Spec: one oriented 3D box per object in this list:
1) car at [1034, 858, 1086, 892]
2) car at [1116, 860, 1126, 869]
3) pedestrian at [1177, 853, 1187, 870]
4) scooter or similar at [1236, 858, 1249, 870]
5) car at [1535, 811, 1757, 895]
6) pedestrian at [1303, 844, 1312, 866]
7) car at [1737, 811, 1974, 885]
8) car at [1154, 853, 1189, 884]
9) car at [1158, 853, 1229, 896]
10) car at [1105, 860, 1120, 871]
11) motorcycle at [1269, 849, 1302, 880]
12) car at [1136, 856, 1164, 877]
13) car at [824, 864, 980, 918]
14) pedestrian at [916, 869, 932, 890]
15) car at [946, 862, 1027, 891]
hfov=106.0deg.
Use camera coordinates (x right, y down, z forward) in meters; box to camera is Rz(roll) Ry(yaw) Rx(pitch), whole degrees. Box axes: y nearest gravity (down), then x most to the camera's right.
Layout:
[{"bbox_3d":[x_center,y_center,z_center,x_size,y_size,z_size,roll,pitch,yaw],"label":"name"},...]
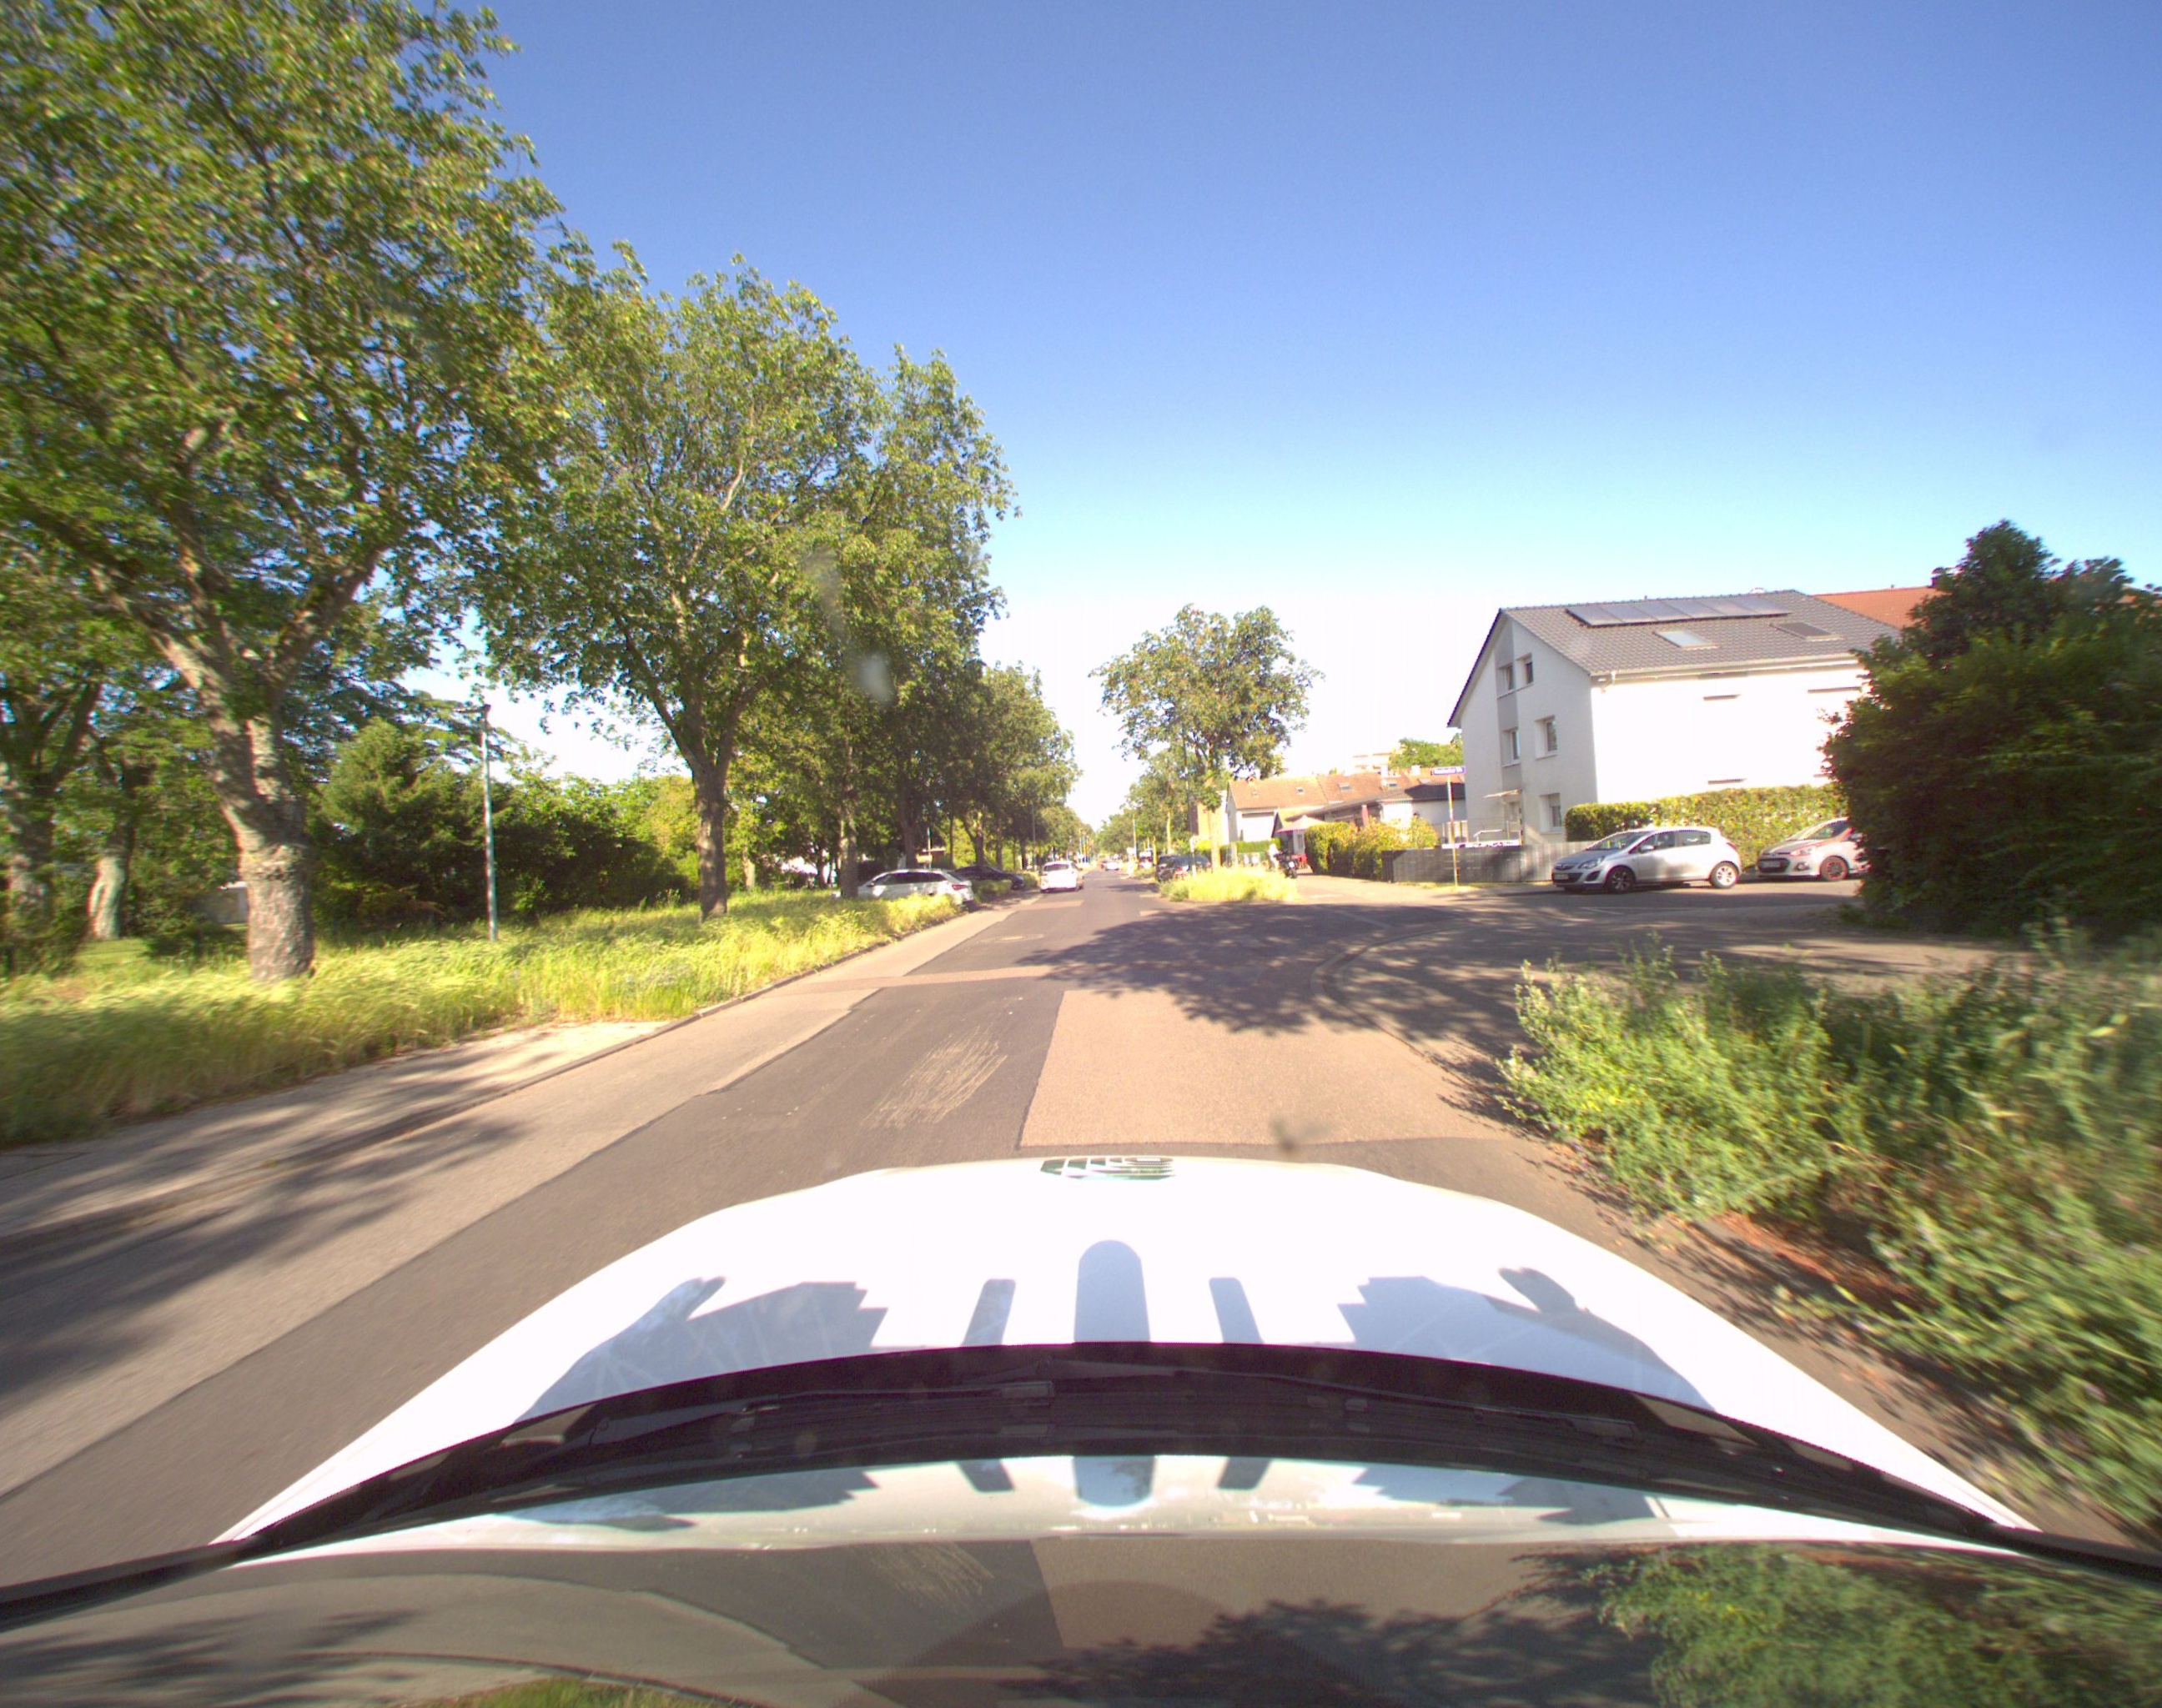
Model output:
[{"bbox_3d":[-0.964,0.983,40.038,1.984,1.455,4.231,-3,0,5],"label":"car"},{"bbox_3d":[6.661,1.745,135.652,1.726,1.508,3.659,0,-1,2],"label":"car"},{"bbox_3d":[12.327,0.953,99.368,1.108,2.013,0.922,-3,0,1],"label":"pedestrian"},{"bbox_3d":[11.831,0.718,59.786,0.368,0.858,1.406,-2,-1,-11],"label":"scooter or similar"},{"bbox_3d":[13.056,-0.025,18.961,3.980,1.640,1.773,-3,0,-5],"label":"car"},{"bbox_3d":[13.913,0.061,50.065,0.437,1.385,0.640,-2,-1,7],"label":"pedestrian"},{"bbox_3d":[17.941,-0.131,19.004,3.735,1.444,1.849,-3,0,0],"label":"car"},{"bbox_3d":[4.953,0.783,45.036,1.604,1.622,4.383,0,-1,2],"label":"car"},{"bbox_3d":[4.482,0.796,33.107,1.990,1.622,4.375,0,-1,-4],"label":"car"},{"bbox_3d":[4.174,1.554,108.293,1.986,1.508,3.659,0,-1,2],"label":"car"},{"bbox_3d":[8.789,0.431,35.103,0.815,1.227,2.352,-4,0,1],"label":"motorcycle"},{"bbox_3d":[6.057,1.123,71.783,1.988,1.728,3.998,-5,-1,-1],"label":"car"},{"bbox_3d":[-5.882,1.204,27.183,4.652,1.503,2.001,-2,-1,3],"label":"car"},{"bbox_3d":[-13.727,2.241,71.077,1.227,1.827,1.543,-1,-2,-15],"label":"pedestrian"},{"bbox_3d":[-5.393,1.260,46.915,4.352,1.531,1.807,-1,-1,0],"label":"car"}]
